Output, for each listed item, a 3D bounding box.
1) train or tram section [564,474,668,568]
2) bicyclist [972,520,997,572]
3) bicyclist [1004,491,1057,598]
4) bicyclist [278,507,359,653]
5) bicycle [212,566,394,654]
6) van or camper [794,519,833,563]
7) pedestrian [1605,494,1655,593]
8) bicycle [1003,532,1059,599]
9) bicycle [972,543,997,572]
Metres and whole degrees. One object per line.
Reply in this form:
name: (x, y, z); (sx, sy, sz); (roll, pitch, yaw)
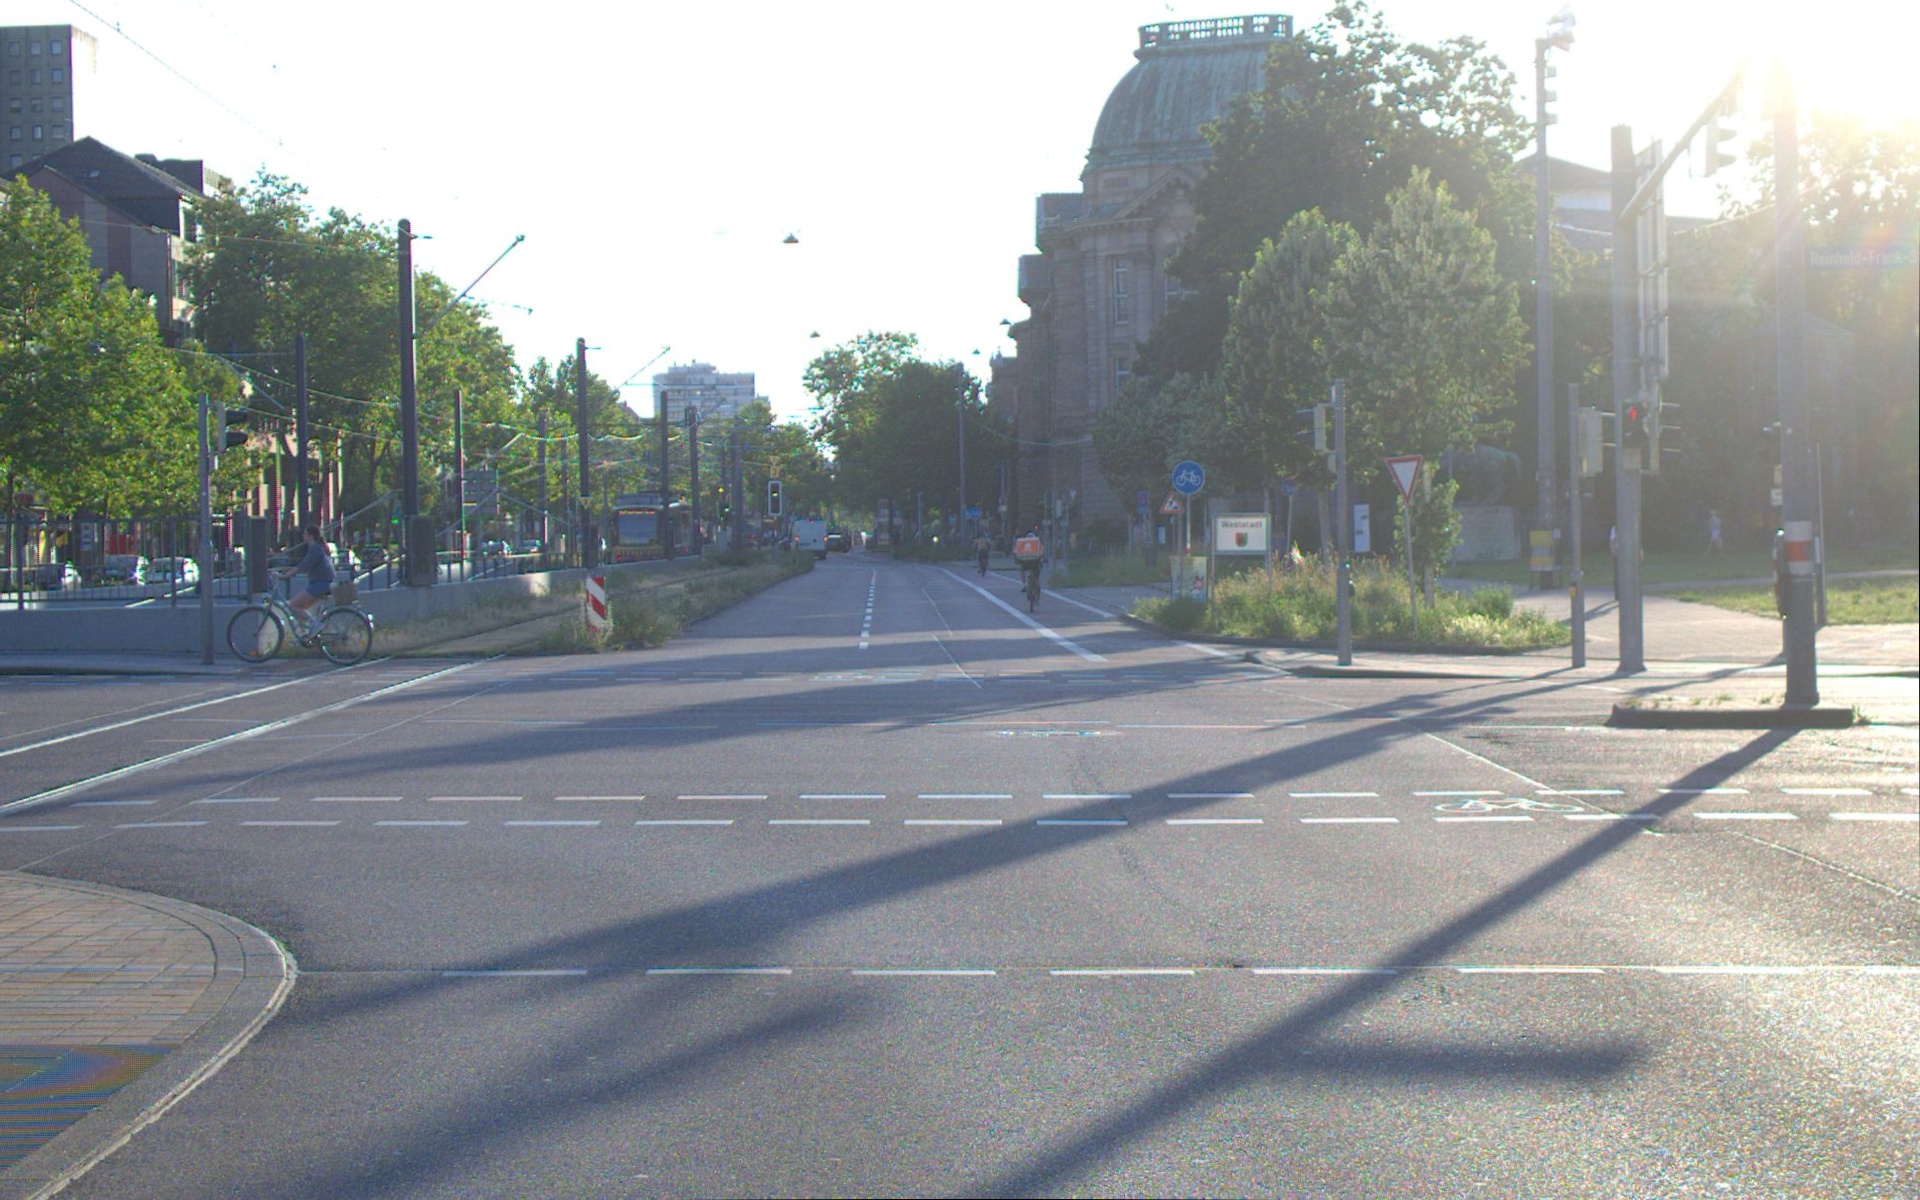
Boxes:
train or tram section: (-15.488, -3.660, 155.835); (4.385, 3.836, 11.413); (-1, 3, -5)
bicyclist: (0.953, -2.127, 134.823); (0.925, 2.007, 0.850); (-1, 1, -1)
bicyclist: (1.496, -1.191, 73.418); (1.082, 2.268, 0.986); (0, 1, -1)
bicyclist: (-8.013, -0.253, 42.952); (0.876, 1.812, 0.538); (-1, 1, 2)
bicycle: (-8.202, 0.118, 42.969); (2.164, 1.080, 0.539); (0, 0, 2)
van or camper: (-9.403, -3.759, 220.719); (2.449, 2.761, 5.601); (-1, 1, -2)
pedestrian: (12.339, -1.041, 63.313); (0.833, 1.797, 0.810); (-1, 1, 15)
bicycle: (1.500, -0.753, 73.515); (1.098, 1.394, 2.832); (-1, 1, -1)
bicycle: (0.961, -1.665, 134.763); (0.924, 1.108, 2.333); (-1, 1, -1)
